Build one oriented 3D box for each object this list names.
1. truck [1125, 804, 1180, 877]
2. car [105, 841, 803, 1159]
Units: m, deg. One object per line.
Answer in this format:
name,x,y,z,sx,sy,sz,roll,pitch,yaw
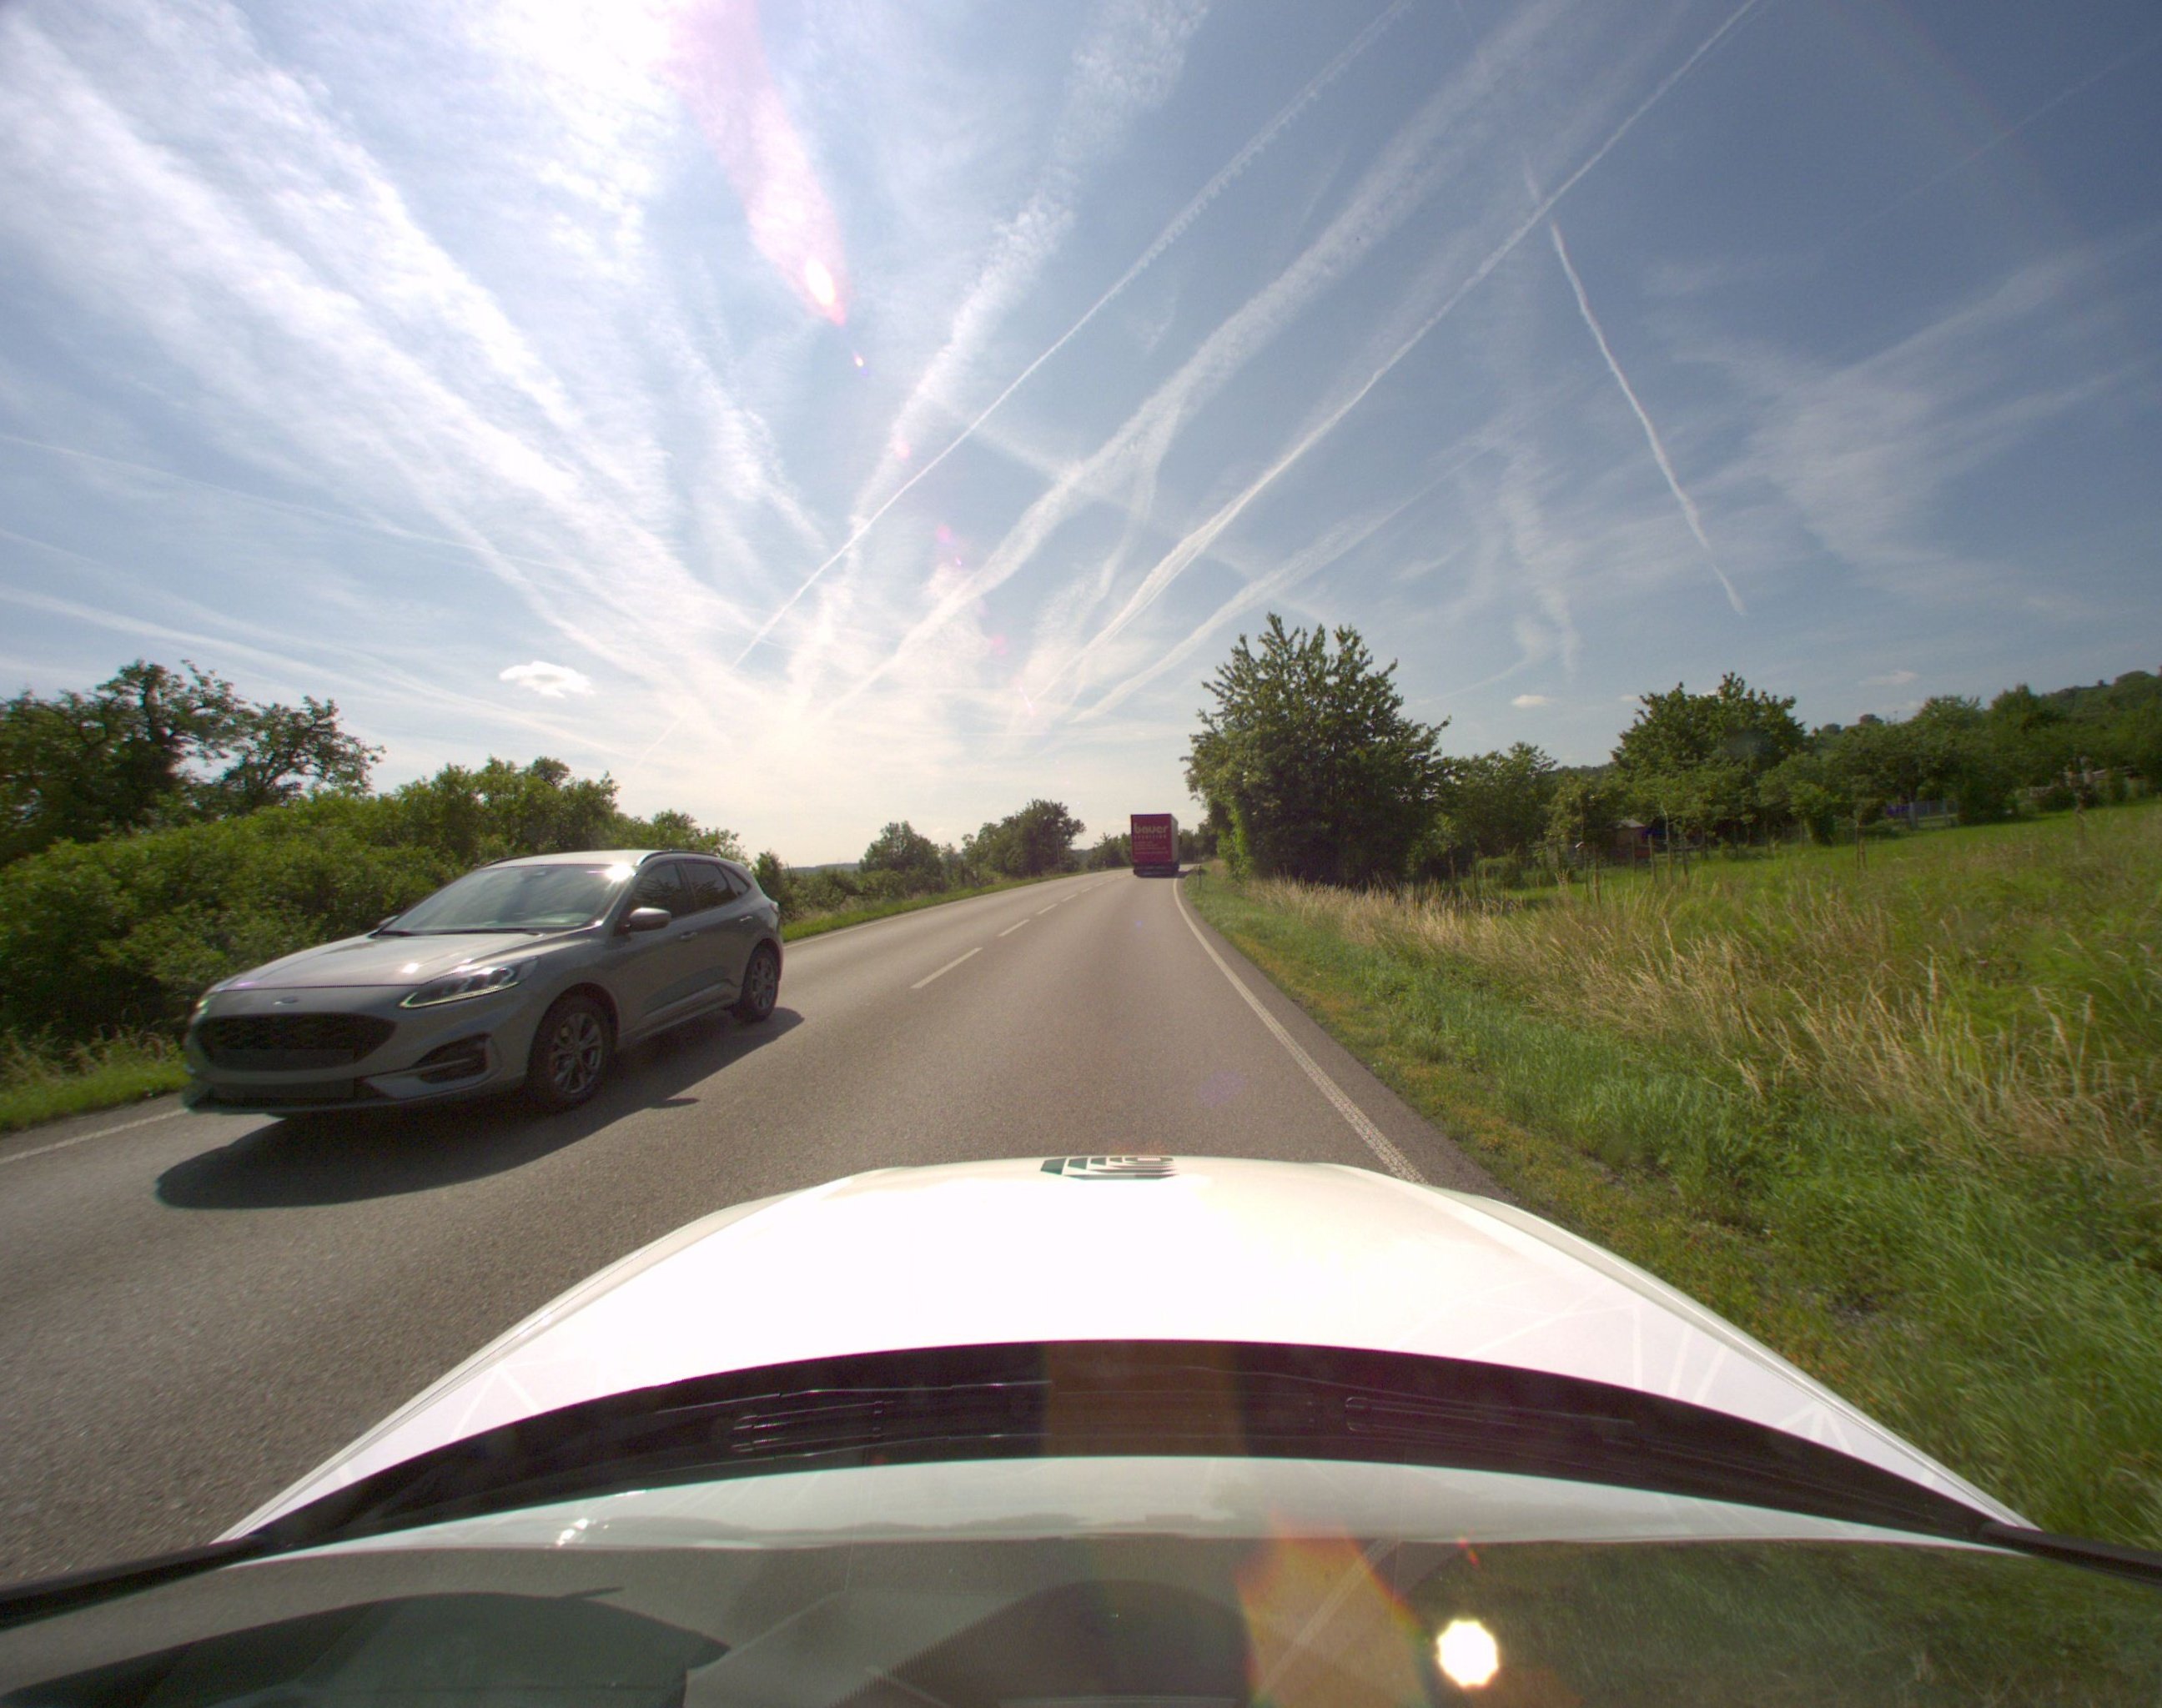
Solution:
truck,5.092,-0.724,56.106,3.095,4.506,12.193,0,-1,8
car,-4.034,0.773,6.444,1.949,1.605,4.404,-2,0,2
